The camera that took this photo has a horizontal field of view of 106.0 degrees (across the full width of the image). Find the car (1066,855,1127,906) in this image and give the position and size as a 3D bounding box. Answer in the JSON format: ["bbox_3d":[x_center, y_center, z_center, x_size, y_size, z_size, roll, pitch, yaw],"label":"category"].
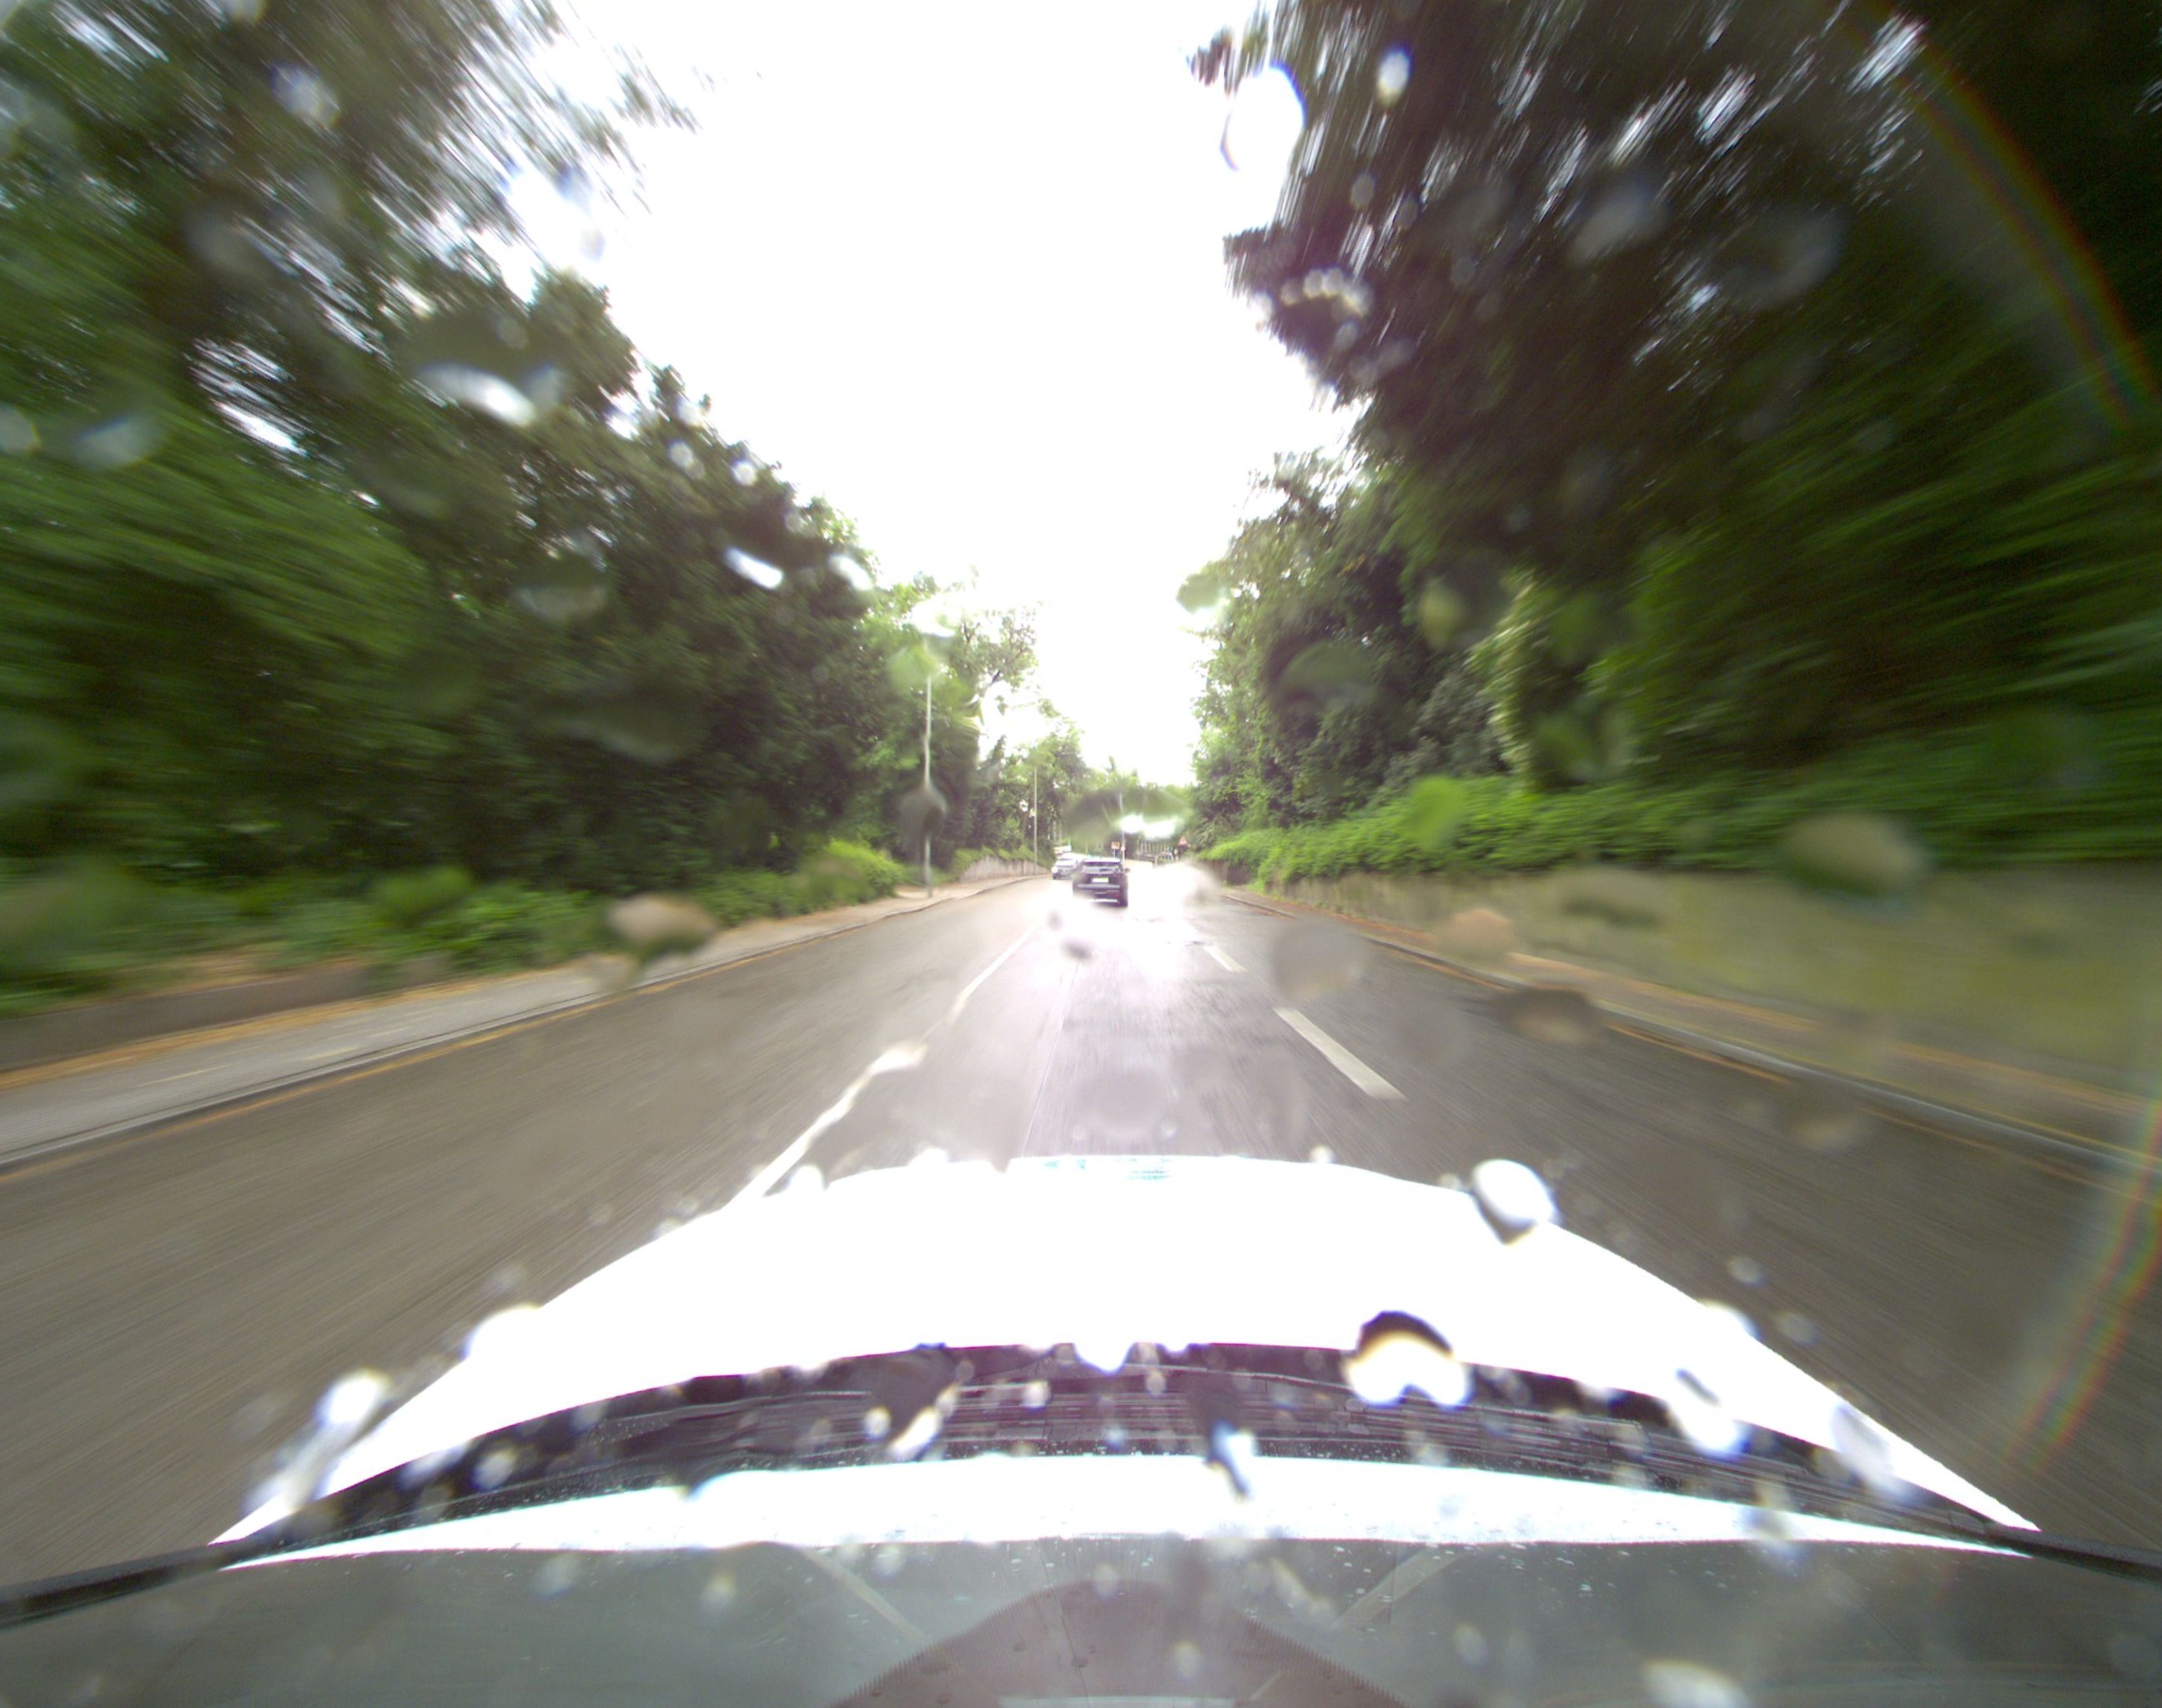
[{"bbox_3d":[0.563,0.857,27.859,1.921,1.613,4.001,-1,0,2],"label":"car"}]

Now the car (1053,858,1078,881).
[{"bbox_3d":[-1.134,1.138,61.758,1.824,1.711,4.000,0,0,0],"label":"car"}]

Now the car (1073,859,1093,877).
[{"bbox_3d":[0.202,1.214,72.229,1.669,1.496,3.461,-1,0,1],"label":"car"}]
